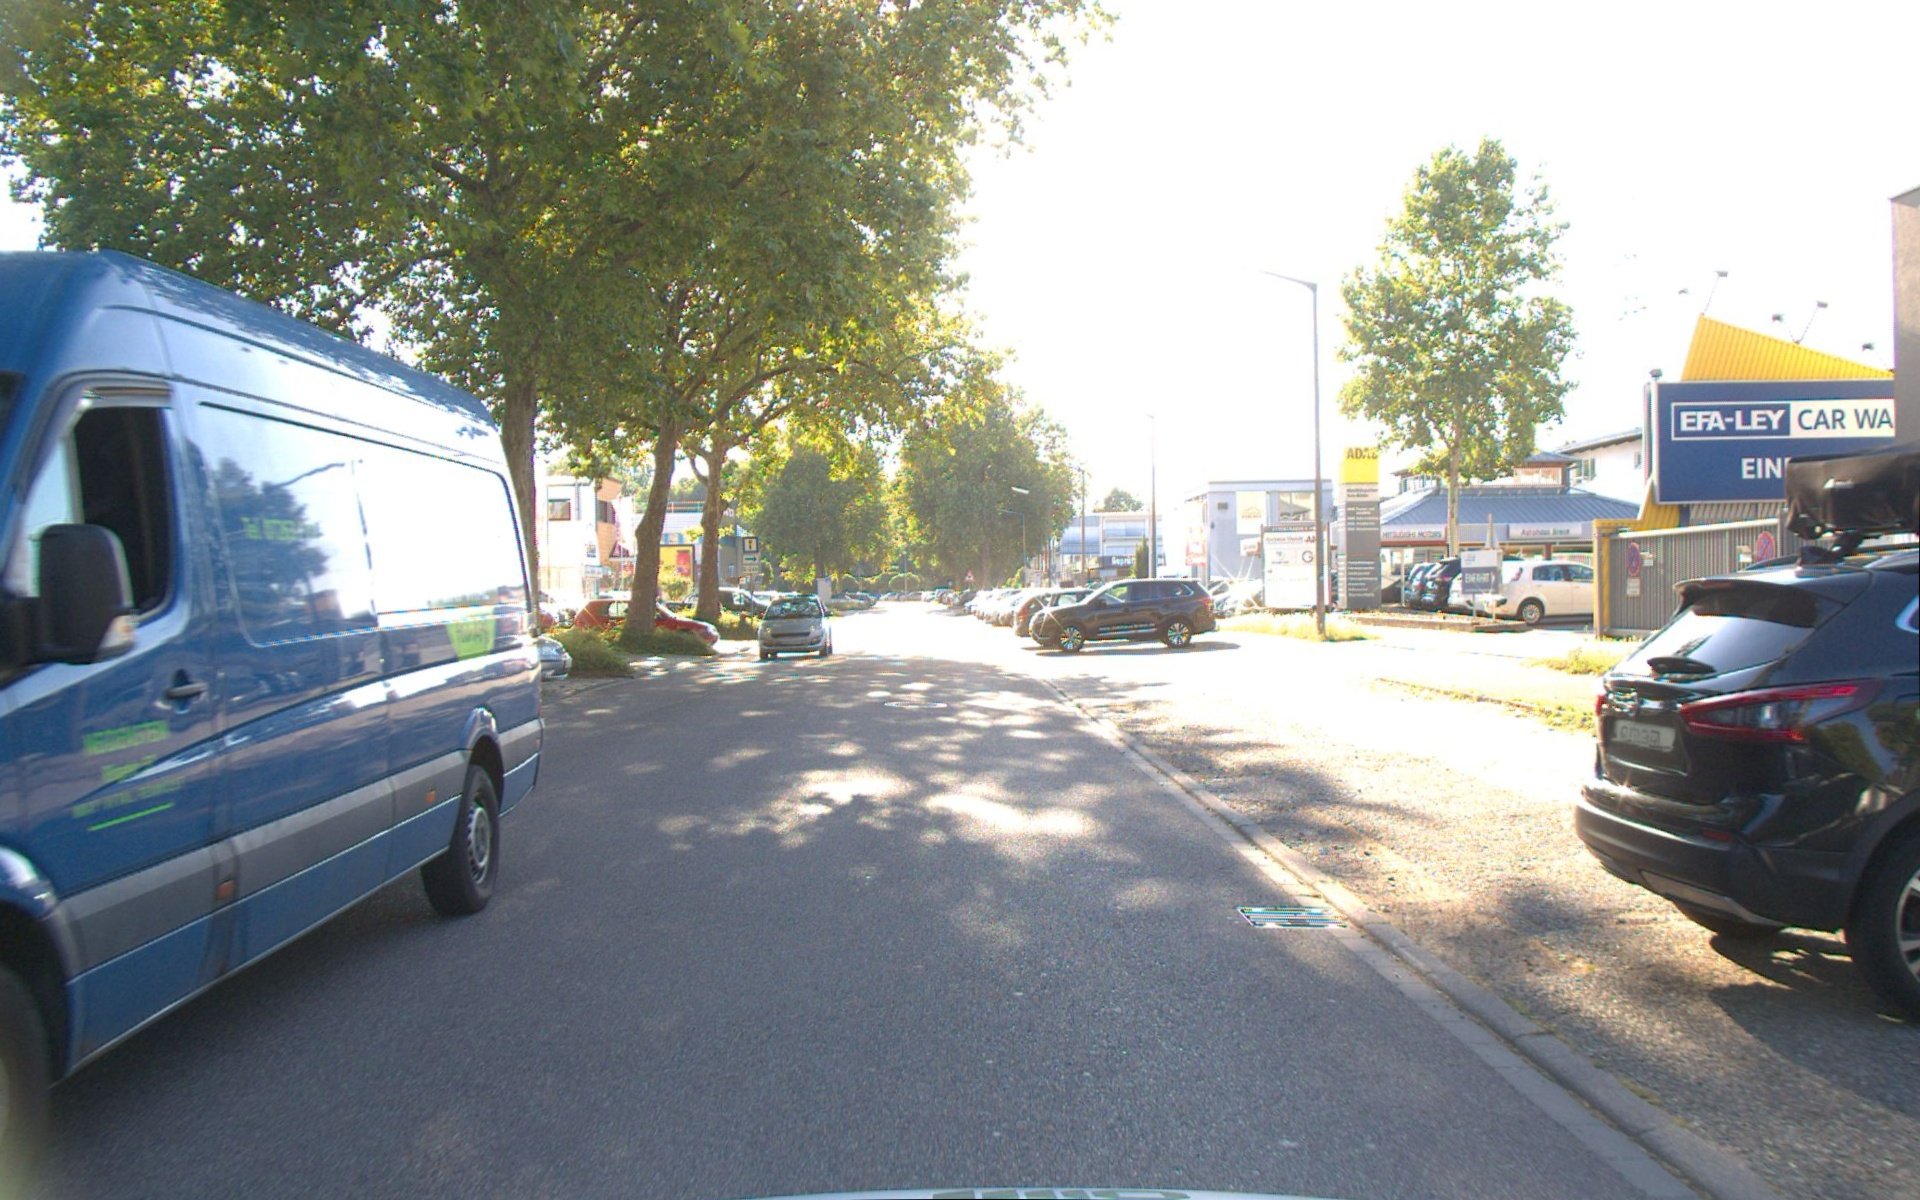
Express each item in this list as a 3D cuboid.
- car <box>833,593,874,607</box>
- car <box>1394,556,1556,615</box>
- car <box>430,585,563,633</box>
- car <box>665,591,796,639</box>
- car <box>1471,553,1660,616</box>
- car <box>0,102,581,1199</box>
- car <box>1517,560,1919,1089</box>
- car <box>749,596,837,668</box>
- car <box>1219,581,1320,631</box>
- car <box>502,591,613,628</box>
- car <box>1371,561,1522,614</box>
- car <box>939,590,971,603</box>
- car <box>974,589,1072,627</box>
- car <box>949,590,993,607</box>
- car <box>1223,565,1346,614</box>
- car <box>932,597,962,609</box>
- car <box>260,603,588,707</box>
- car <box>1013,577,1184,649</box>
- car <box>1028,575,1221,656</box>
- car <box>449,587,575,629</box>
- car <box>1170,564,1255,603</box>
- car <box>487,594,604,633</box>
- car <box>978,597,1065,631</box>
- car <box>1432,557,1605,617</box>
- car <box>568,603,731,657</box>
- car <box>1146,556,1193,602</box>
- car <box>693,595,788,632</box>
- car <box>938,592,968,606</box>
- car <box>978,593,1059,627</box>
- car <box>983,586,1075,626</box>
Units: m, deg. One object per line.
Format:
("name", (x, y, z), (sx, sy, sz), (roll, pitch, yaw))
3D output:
("car", (-11.582, 0.006, 180.263), (4.325, 1.543, 2.000), (0, 0, 0))
("car", (14.495, -0.391, 46.684), (3.910, 1.623, 1.998), (0, 0, -6))
("car", (-18.009, 0.333, 64.462), (4.651, 1.851, 1.999), (0, 0, -3))
("car", (-9.409, 0.609, 68.184), (5.153, 1.932, 2.201), (0, 0, -2))
("car", (14.821, -0.369, 40.603), (3.910, 1.523, 1.998), (0, 0, -6))
("car", (-3.231, 0.214, 6.154), (2.084, 2.706, 7.000), (-2, 1, -1))
("car", (4.763, 0.561, 6.265), (4.533, 1.553, 1.999), (-5, 0, -3))
("car", (-4.067, 0.747, 40.839), (1.801, 1.598, 3.801), (-3, 0, -2))
("car", (13.058, 0.240, 69.949), (3.854, 1.931, 2.202), (-1, 3, -2))
("car", (-18.078, 0.410, 74.489), (4.568, 1.620, 1.927), (0, 0, -3))
("car", (14.567, -0.369, 49.630), (3.910, 1.545, 1.998), (0, 0, -6))
("car", (-0.624, -0.442, 207.650), (3.906, 1.440, 1.826), (-2, 0, -2))
("car", (2.558, 0.318, 67.719), (3.905, 1.319, 1.784), (-3, 0, 1))
("car", (0.988, -0.154, 152.209), (3.906, 1.440, 1.826), (-2, 0, -2))
("car", (12.815, -0.402, 65.541), (4.404, 1.932, 2.201), (0, 0, -2))
("car", (-1.689, 0.426, 218.868), (3.906, 1.440, 1.826), (-2, 0, -2))
("car", (-8.364, 0.840, 26.137), (4.507, 1.447, 1.999), (-1, 1, -2))
("car", (3.850, 0.353, 46.653), (4.509, 1.641, 1.999), (-4, 0, -2))
("car", (4.015, 0.371, 41.005), (4.507, 1.607, 2.000), (-5, 0, 1))
("car", (-18.172, 0.313, 67.300), (4.619, 1.662, 1.999), (0, 0, -3))
("car", (13.157, -0.845, 86.276), (4.060, 1.802, 1.999), (-3, 0, -1))
("car", (-18.034, 0.571, 72.106), (4.624, 1.671, 1.999), (0, 0, -3))
("car", (3.028, 0.690, 82.112), (4.160, 1.633, 1.744), (0, 0, -6))
("car", (14.812, -0.344, 43.981), (3.910, 1.545, 1.951), (0, 0, -6))
("car", (-8.649, 0.837, 46.363), (4.209, 1.472, 1.999), (0, 0, -2))
("car", (12.659, -1.240, 100.247), (1.953, 2.671, 6.135), (0, 0, -1))
("car", (-10.120, 0.611, 76.561), (4.218, 1.685, 2.200), (0, 0, -4))
("car", (-0.943, -0.118, 222.878), (3.906, 1.808, 1.826), (-2, 0, -2))
("car", (3.413, 0.591, 96.890), (4.466, 1.625, 2.200), (-4, 0, -4))
("car", (3.131, 0.263, 75.188), (3.910, 1.615, 1.865), (-3, 0, -5))
